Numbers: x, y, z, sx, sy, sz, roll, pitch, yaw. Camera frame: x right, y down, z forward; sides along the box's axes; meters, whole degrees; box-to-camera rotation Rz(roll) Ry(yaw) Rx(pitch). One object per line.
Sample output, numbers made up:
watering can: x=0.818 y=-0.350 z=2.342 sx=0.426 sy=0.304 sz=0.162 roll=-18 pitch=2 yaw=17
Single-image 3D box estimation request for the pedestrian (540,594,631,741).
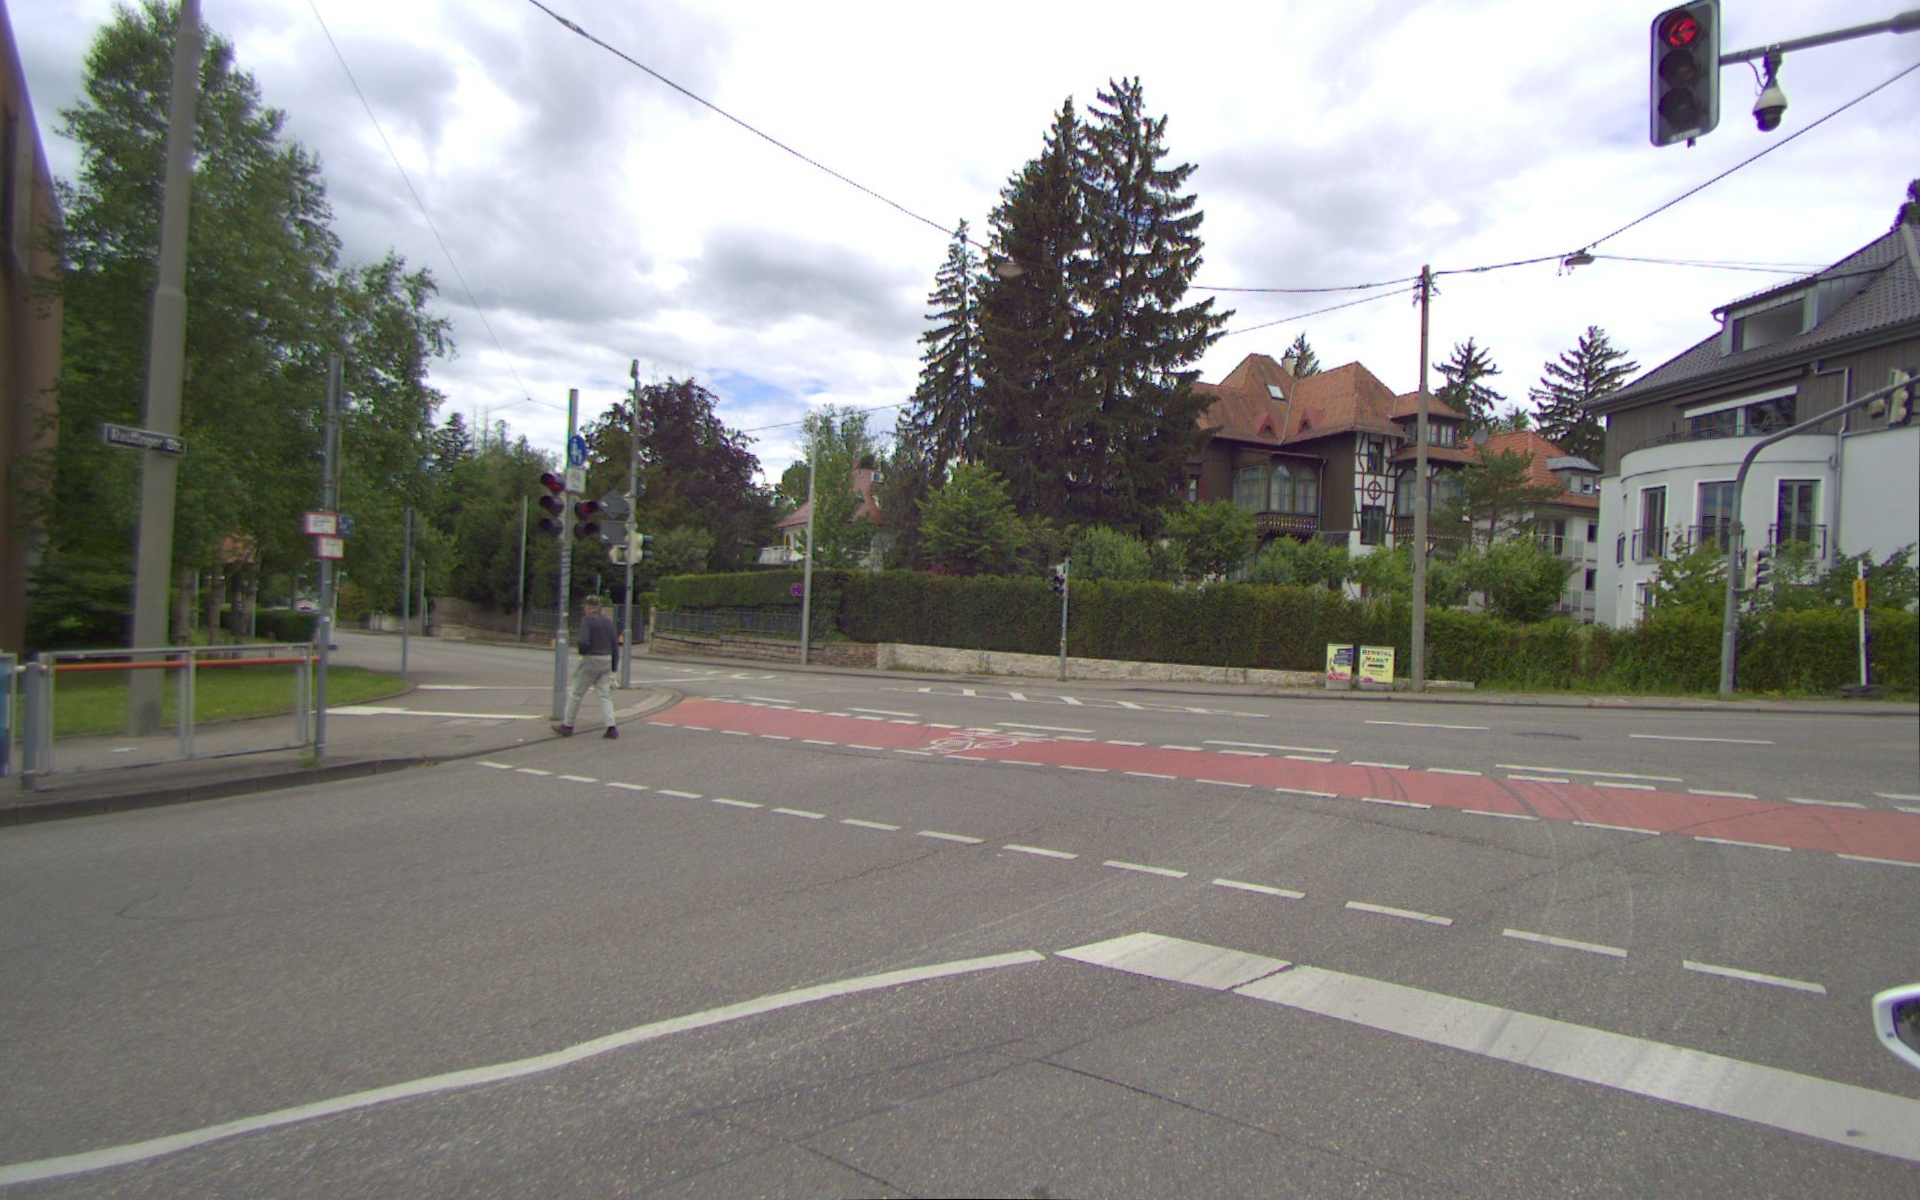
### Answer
pedestrian: x=-4.400 y=0.774 z=11.819 sx=0.726 sy=1.655 sz=0.683 roll=-1 pitch=-1 yaw=22
